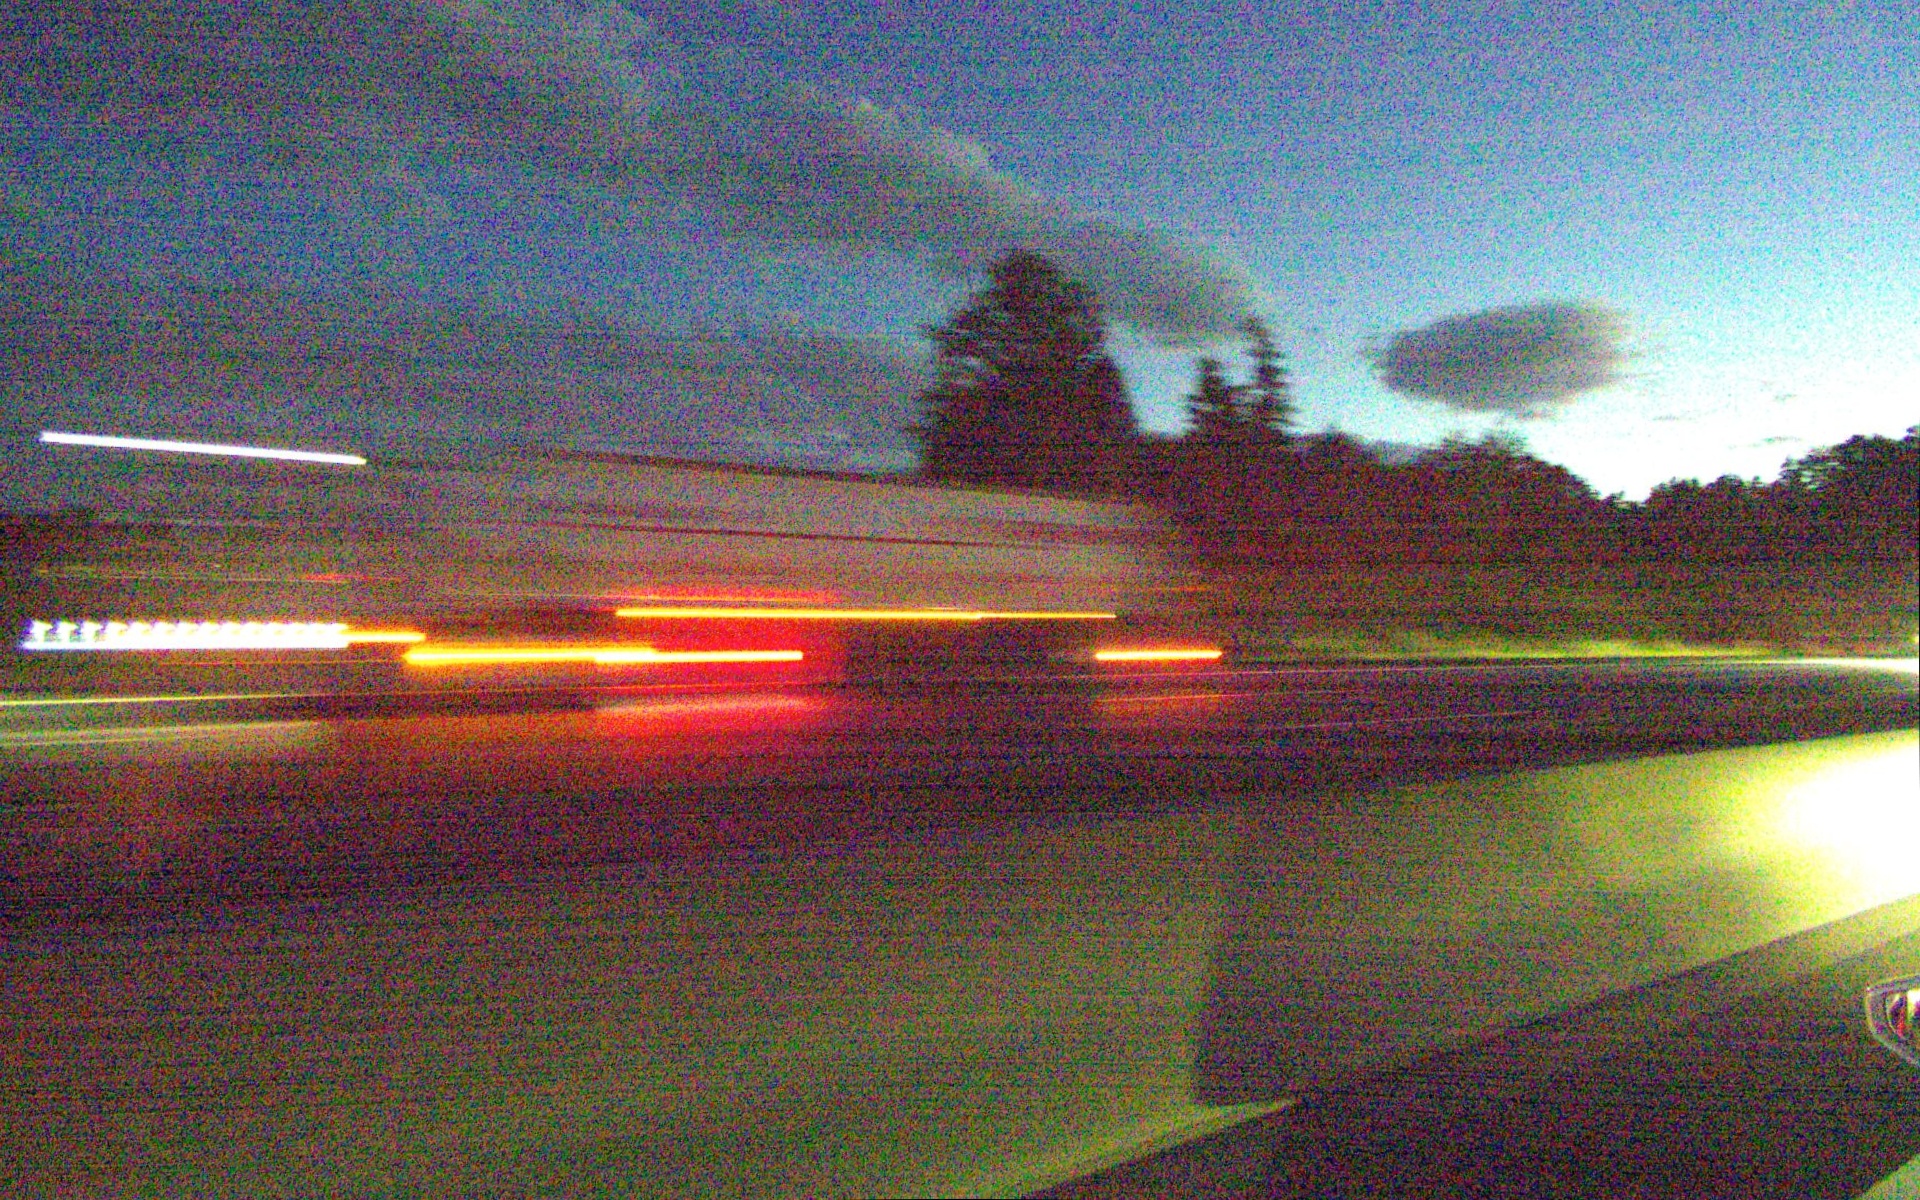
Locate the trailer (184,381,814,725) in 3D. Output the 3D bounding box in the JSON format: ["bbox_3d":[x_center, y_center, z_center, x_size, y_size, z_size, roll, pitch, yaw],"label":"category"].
[{"bbox_3d":[-5.981,-0.432,13.983,7.142,3.738,3.044,2,0,-29],"label":"trailer"}]

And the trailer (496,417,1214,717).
[{"bbox_3d":[-1.219,-0.272,16.674,11.545,3.738,3.043,2,0,-29],"label":"trailer"}]
